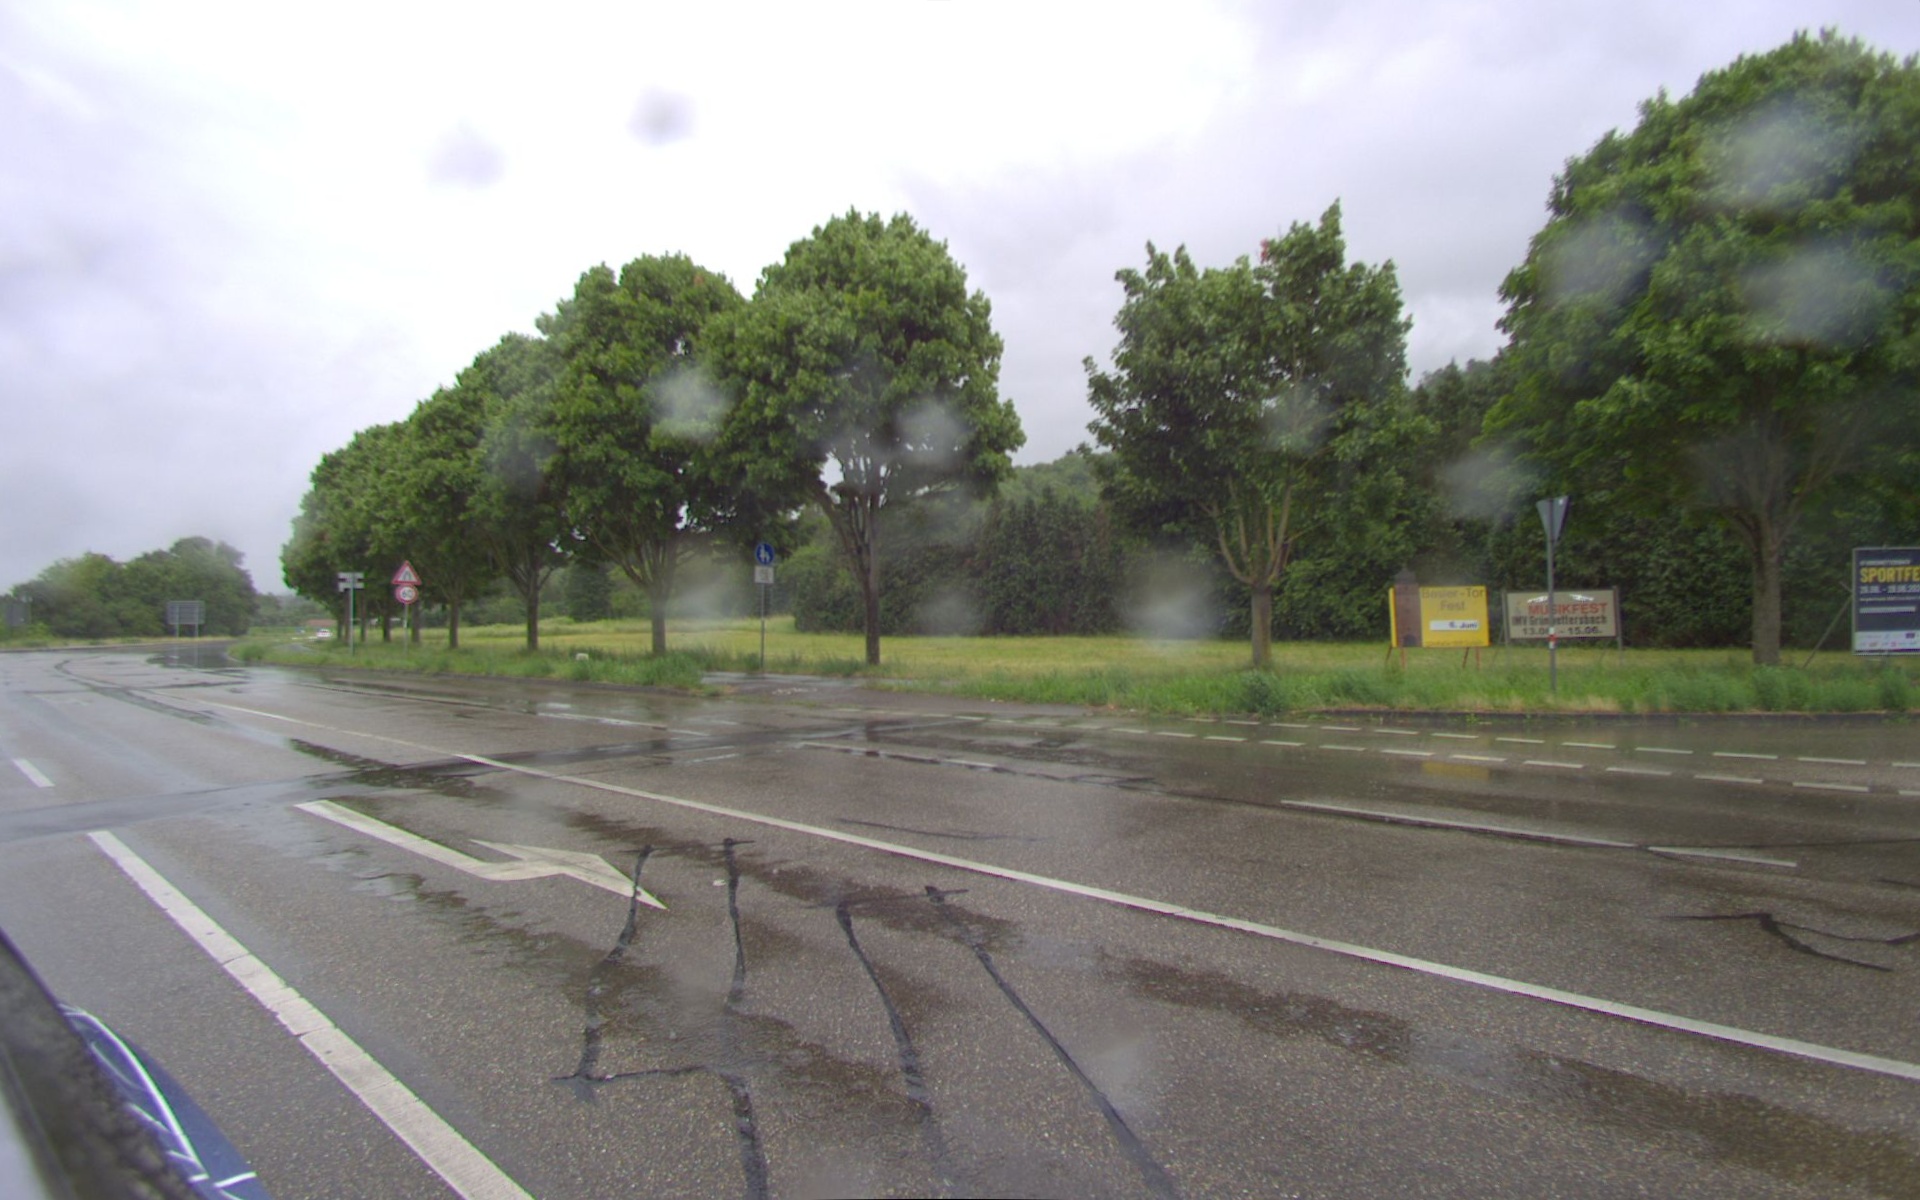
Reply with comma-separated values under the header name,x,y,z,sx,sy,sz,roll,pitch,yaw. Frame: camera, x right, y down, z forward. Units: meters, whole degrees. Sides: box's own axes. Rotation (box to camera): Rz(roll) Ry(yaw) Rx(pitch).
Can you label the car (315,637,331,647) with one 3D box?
name,x,y,z,sx,sy,sz,roll,pitch,yaw
car,-100.582,6.664,159.770,1.852,1.585,4.659,2,-2,-28
